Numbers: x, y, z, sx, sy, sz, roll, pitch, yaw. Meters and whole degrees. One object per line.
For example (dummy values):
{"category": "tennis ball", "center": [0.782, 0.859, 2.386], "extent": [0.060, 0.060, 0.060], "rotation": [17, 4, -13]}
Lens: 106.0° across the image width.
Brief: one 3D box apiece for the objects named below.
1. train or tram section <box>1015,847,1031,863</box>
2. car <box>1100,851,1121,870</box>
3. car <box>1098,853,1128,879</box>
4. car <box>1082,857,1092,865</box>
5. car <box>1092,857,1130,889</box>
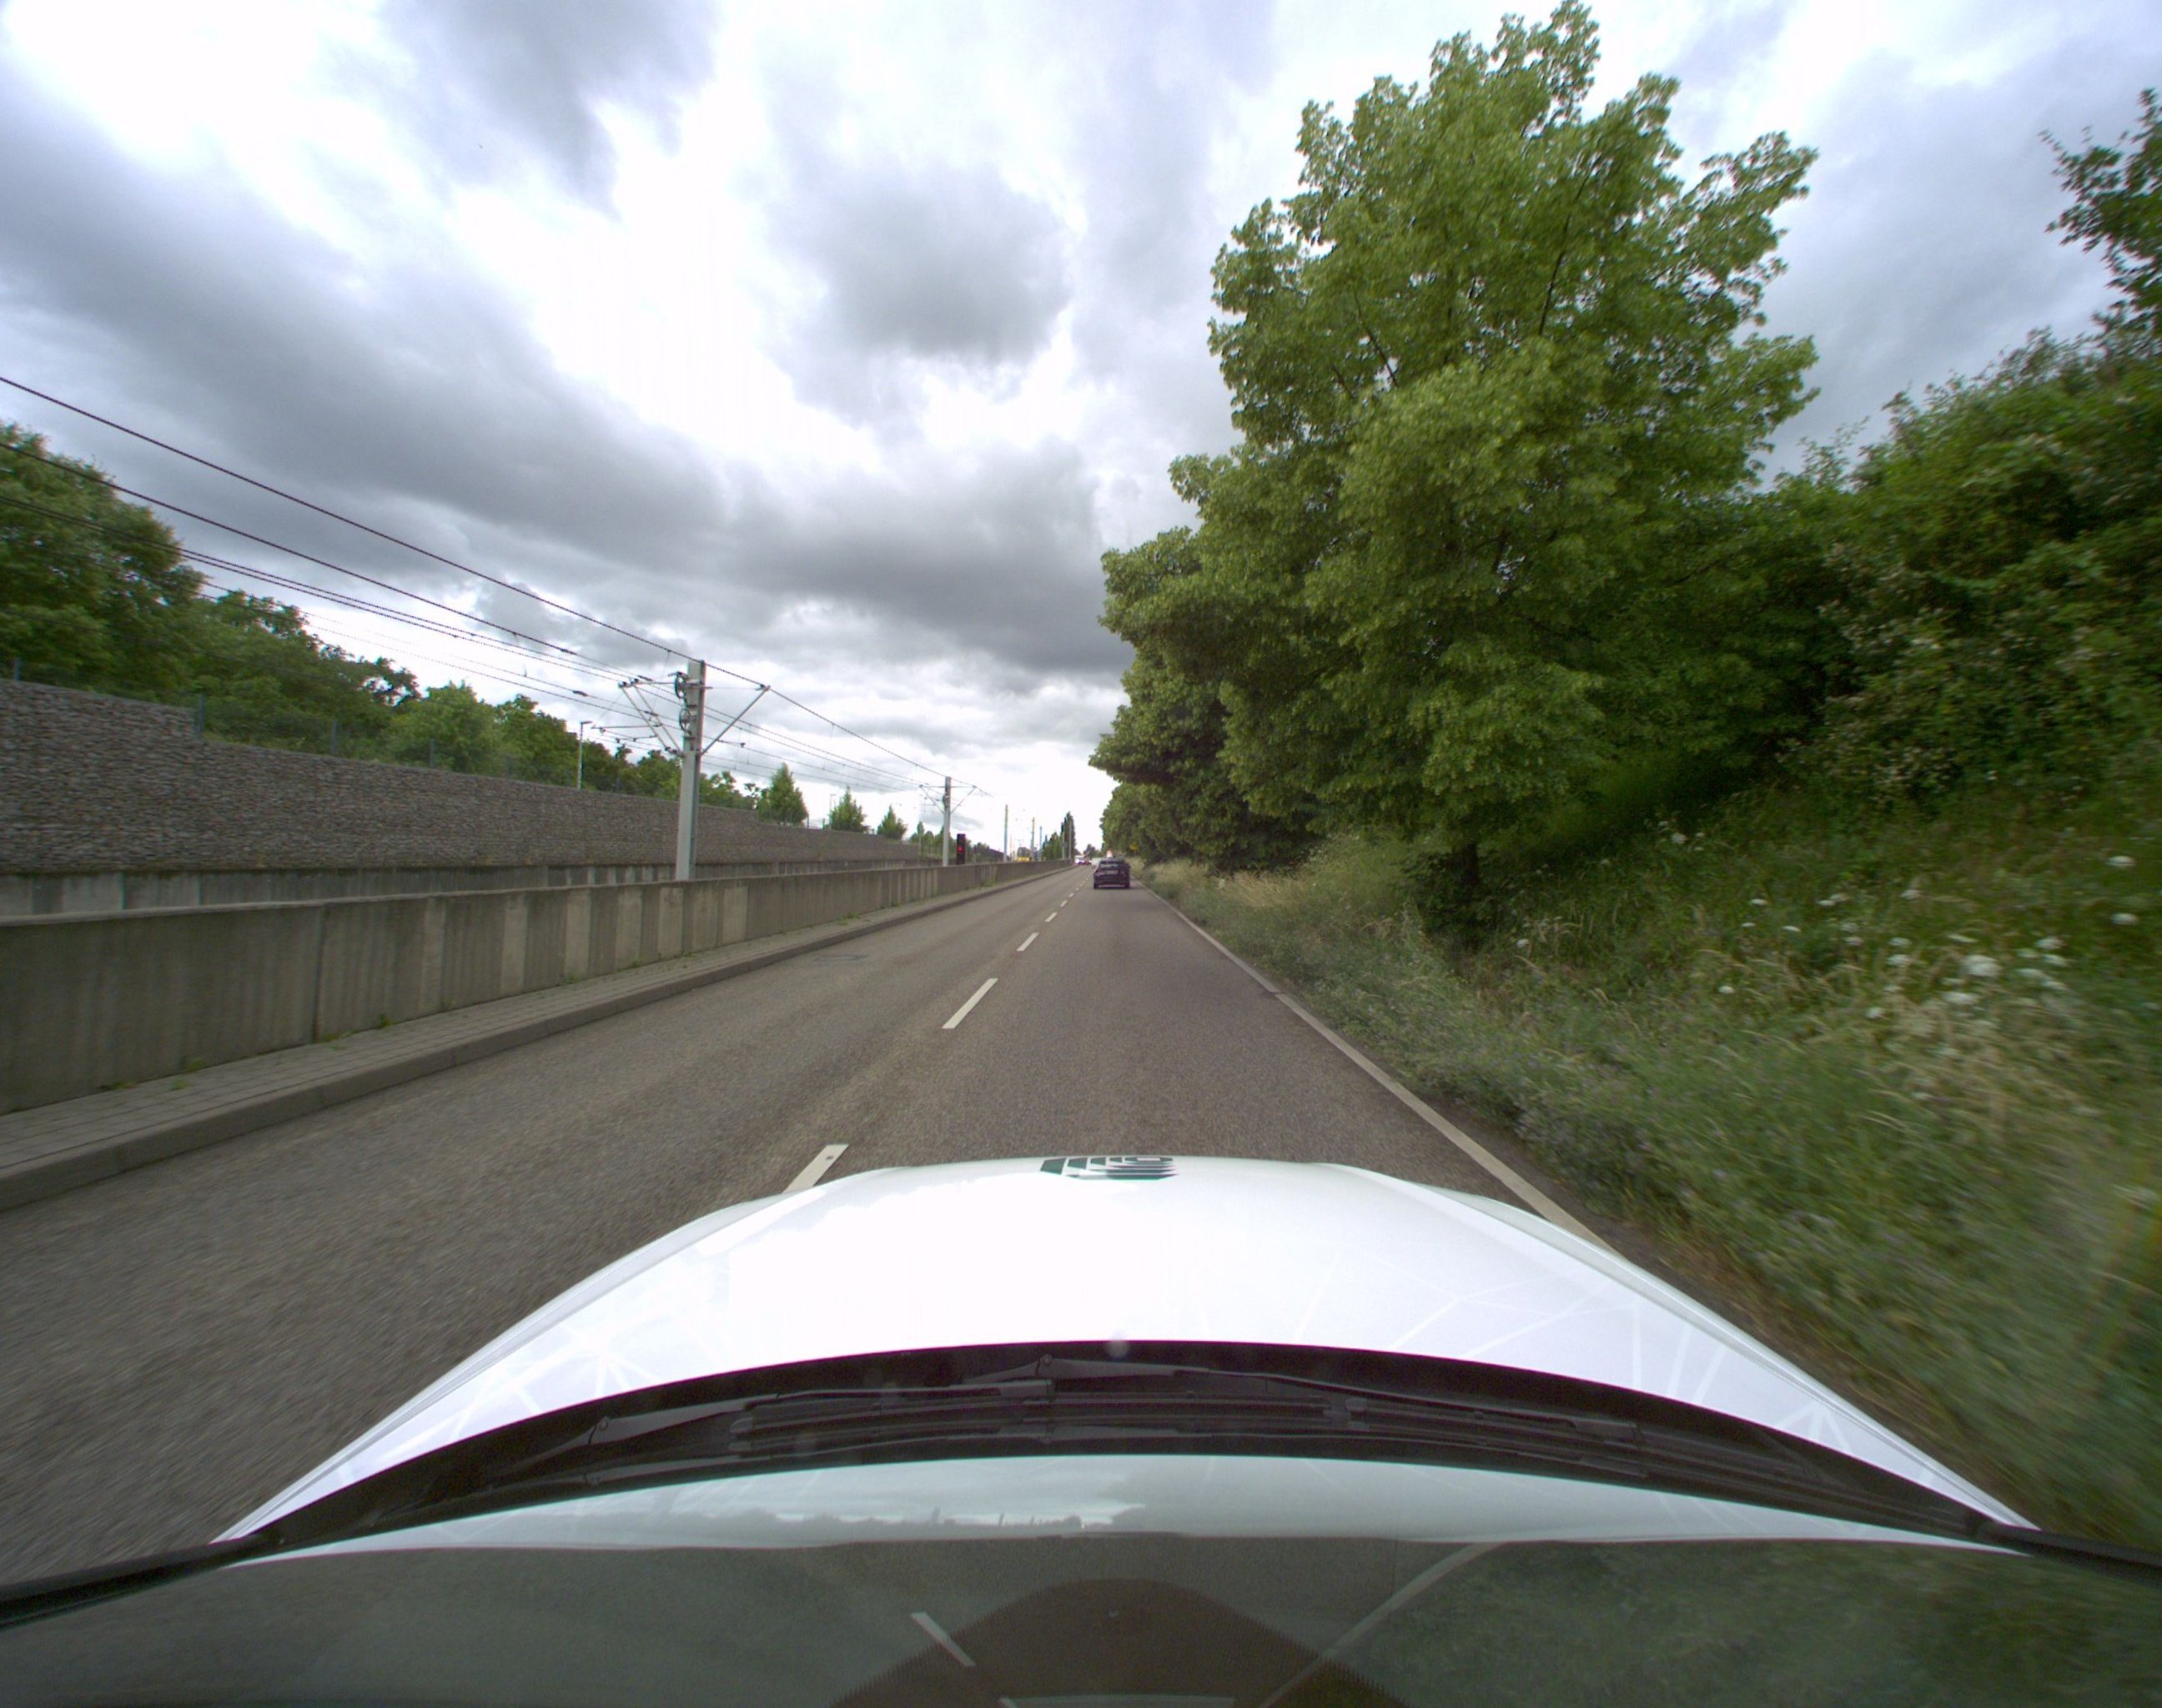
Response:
{"category": "train or tram section", "center": [-12.841, 0.329, 178.493], "extent": [2.808, 3.117, 18.870], "rotation": [0, -1, -6]}
{"category": "car", "center": [2.853, 0.631, 79.179], "extent": [1.986, 1.740, 4.001], "rotation": [-1, -1, 2]}
{"category": "car", "center": [2.237, 0.790, 57.154], "extent": [1.986, 1.753, 4.002], "rotation": [0, 0, 2]}
{"category": "car", "center": [1.152, 1.262, 152.778], "extent": [1.657, 1.545, 3.953], "rotation": [-1, 0, 1]}
{"category": "car", "center": [1.463, 0.897, 39.881], "extent": [1.775, 1.468, 4.002], "rotation": [0, 0, 2]}
